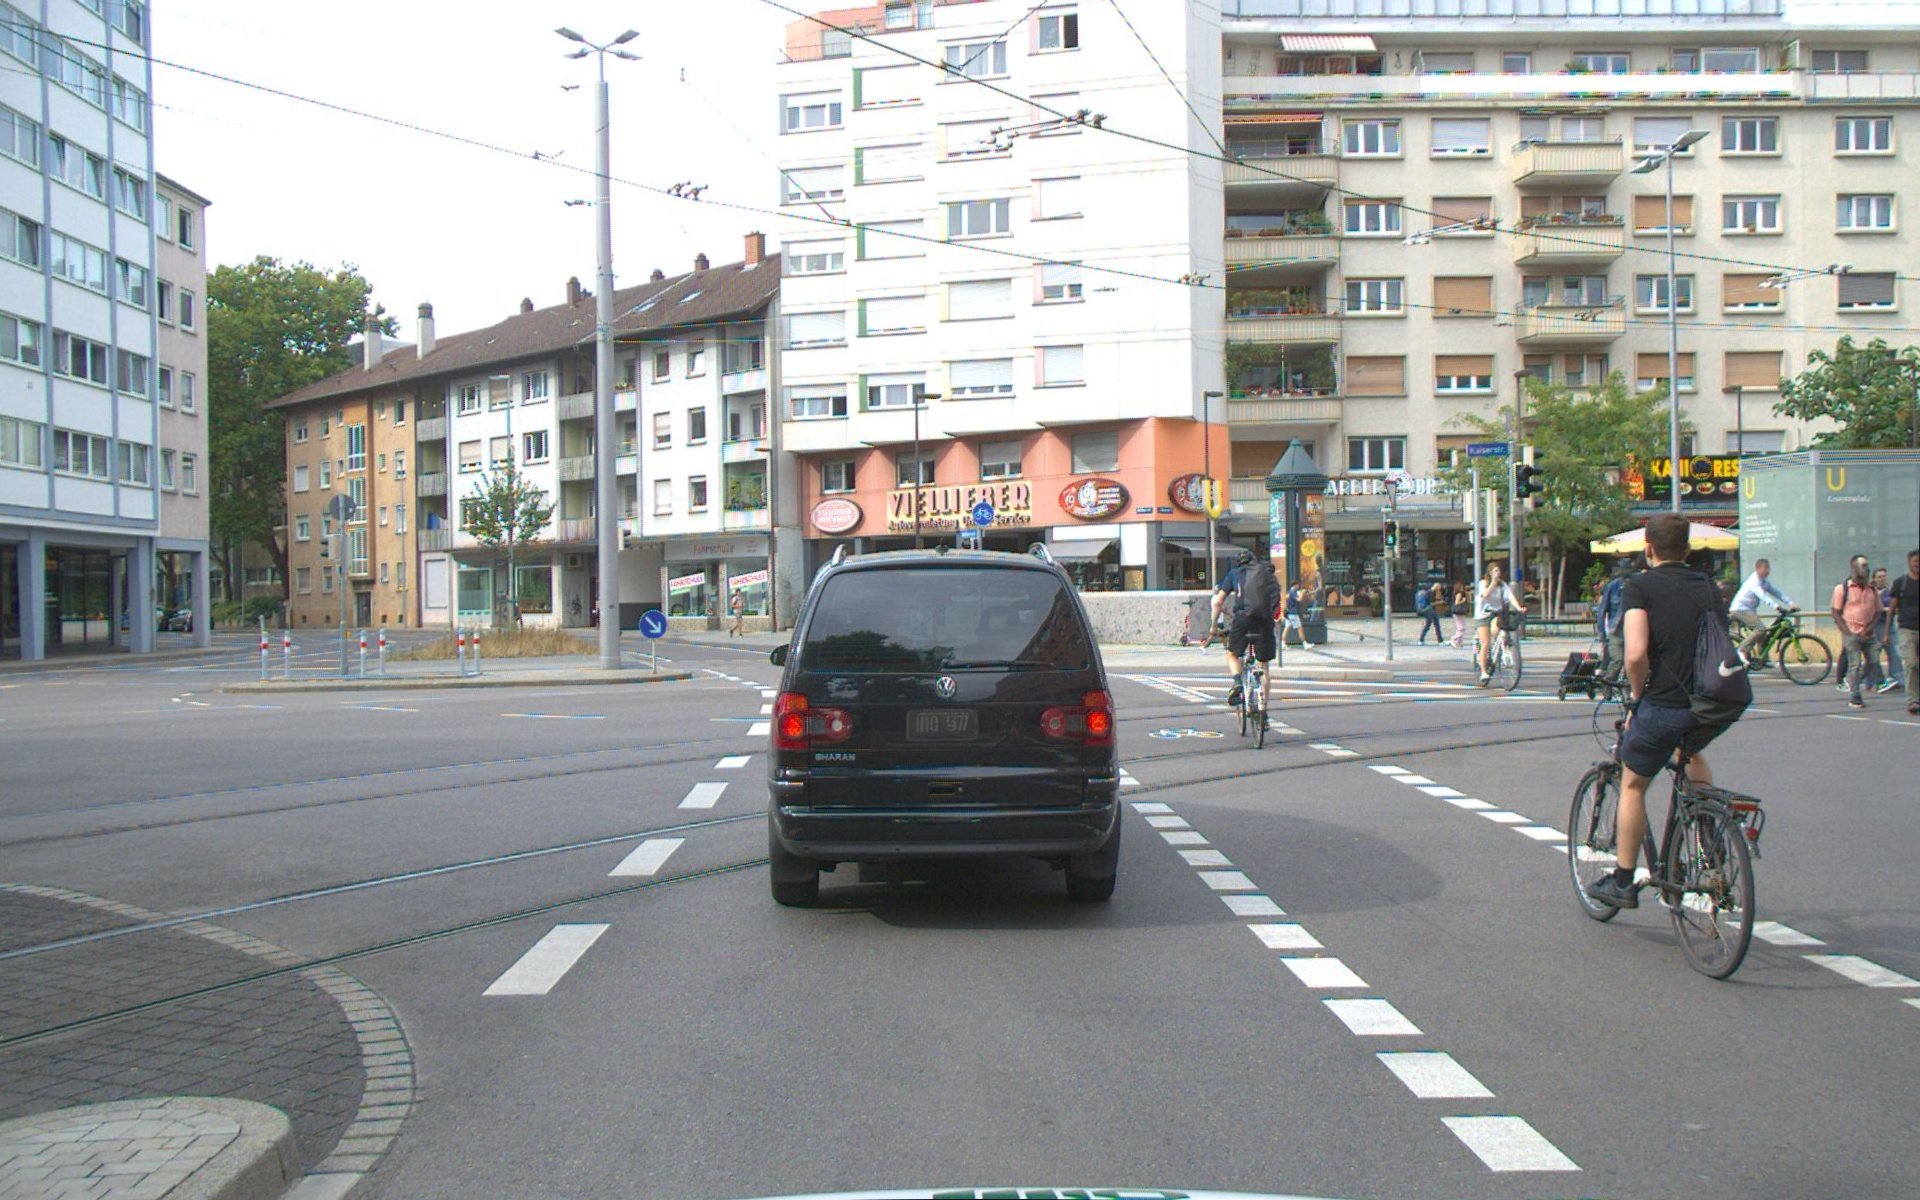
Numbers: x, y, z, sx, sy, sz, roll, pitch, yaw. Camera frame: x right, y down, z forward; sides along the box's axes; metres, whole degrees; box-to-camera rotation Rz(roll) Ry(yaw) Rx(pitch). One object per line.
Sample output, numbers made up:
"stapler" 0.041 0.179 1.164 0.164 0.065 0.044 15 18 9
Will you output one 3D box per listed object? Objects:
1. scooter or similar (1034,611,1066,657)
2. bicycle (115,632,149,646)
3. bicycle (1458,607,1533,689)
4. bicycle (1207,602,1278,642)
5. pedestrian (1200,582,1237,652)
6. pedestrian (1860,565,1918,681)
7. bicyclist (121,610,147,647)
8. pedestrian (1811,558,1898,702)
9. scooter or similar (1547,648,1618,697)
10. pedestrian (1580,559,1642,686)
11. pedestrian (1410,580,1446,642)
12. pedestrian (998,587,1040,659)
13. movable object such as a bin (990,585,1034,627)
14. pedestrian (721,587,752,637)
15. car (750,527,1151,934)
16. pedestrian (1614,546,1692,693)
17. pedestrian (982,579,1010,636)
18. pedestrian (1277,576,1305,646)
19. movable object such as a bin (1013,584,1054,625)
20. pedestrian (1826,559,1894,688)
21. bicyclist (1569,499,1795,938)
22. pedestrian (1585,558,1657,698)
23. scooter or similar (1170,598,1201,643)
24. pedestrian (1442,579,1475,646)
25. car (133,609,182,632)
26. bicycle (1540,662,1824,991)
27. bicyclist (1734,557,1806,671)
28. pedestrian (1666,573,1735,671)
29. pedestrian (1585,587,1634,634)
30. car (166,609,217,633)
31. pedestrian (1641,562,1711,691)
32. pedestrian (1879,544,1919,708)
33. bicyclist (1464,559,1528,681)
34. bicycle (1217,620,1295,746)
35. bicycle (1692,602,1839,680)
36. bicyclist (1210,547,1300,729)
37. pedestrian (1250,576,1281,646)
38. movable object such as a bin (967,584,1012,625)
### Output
"scooter or similar" 2.274 0.849 41.630 0.685 1.129 0.609 -2 0 11
"bicycle" -37.322 1.755 74.610 0.473 0.598 1.998 -1 0 2
"bicycle" 7.855 0.680 24.318 0.382 1.141 2.076 -1 0 -1
"bicycle" 7.748 0.598 45.249 2.429 1.031 0.536 -2 0 -43
"pedestrian" 6.415 0.429 41.094 0.787 1.710 0.627 -1 0 1
"pedestrian" 12.549 0.304 22.339 0.617 1.537 0.591 0 0 36
"bicyclist" -37.262 1.278 74.606 0.595 1.675 1.038 -1 0 2
"pedestrian" 10.724 0.343 19.855 0.530 1.680 0.892 -1 0 -2
"scooter or similar" 8.043 0.928 21.383 0.498 0.584 0.813 -1 0 -11
"pedestrian" 9.059 0.309 23.026 0.459 1.715 0.795 -1 0 -6
"pedestrian" 12.265 0.290 43.355 0.802 1.604 0.415 -1 0 0
"pedestrian" 1.488 0.583 41.766 0.915 1.770 0.686 -2 0 12
"movable object such as a bin" 1.956 0.226 62.050 1.176 1.542 1.190 -1 0 42
"pedestrian" -8.647 0.464 64.021 0.653 1.884 0.956 -5 2 -43
"car" -0.133 0.570 9.222 1.776 1.797 3.735 0 0 -3
"pedestrian" 9.127 0.248 21.806 0.626 1.887 0.877 -1 0 -2
"pedestrian" 1.235 0.257 56.987 0.580 1.936 0.670 -1 2 44
"pedestrian" 8.395 0.274 41.954 0.581 1.767 0.414 -1 0 -2
"movable object such as a bin" 2.794 0.179 62.845 1.147 1.542 0.999 -1 0 43
"pedestrian" 11.954 0.298 21.973 0.707 1.676 0.704 0 0 36
"bicyclist" 3.042 0.469 7.033 0.547 1.739 0.862 -1 0 -1
"pedestrian" 8.265 0.337 20.706 0.626 1.717 0.600 -1 0 -2
"scooter or similar" 6.149 0.558 45.153 0.282 1.233 1.117 -1 0 -24
"pedestrian" 12.531 0.316 41.614 0.662 1.670 0.439 -1 0 -2
"car" -52.811 1.332 108.815 3.878 1.447 1.652 0 1 44
"bicycle" 3.083 0.896 7.266 0.397 1.141 2.017 -1 1 1
"bicyclist" 11.821 0.197 24.130 0.845 1.631 0.640 -1 0 34
"pedestrian" 11.818 0.354 26.409 0.542 1.527 0.843 -1 -2 -17
"pedestrian" 18.027 0.283 45.921 1.010 1.267 0.935 1 0 1
"car" -48.941 1.320 105.333 3.799 1.447 1.652 0 1 44
"pedestrian" 9.839 0.354 22.756 0.620 1.725 0.706 -1 0 -2
"pedestrian" 10.874 0.280 18.779 0.530 1.829 0.561 -1 0 -2
"bicyclist" 7.861 0.285 24.276 0.627 1.739 0.862 -1 0 -1
"bicycle" 2.907 0.781 16.360 0.382 1.141 1.919 -1 0 -1
"bicycle" 11.763 0.598 24.196 1.880 1.106 0.390 -1 0 34
"bicyclist" 2.908 0.366 16.366 0.683 1.739 0.907 -1 0 -1
"pedestrian" 7.865 0.288 42.528 0.685 1.767 0.414 -1 0 -2
"movable object such as a bin" 1.079 0.163 60.979 1.202 1.486 1.142 -1 0 42
